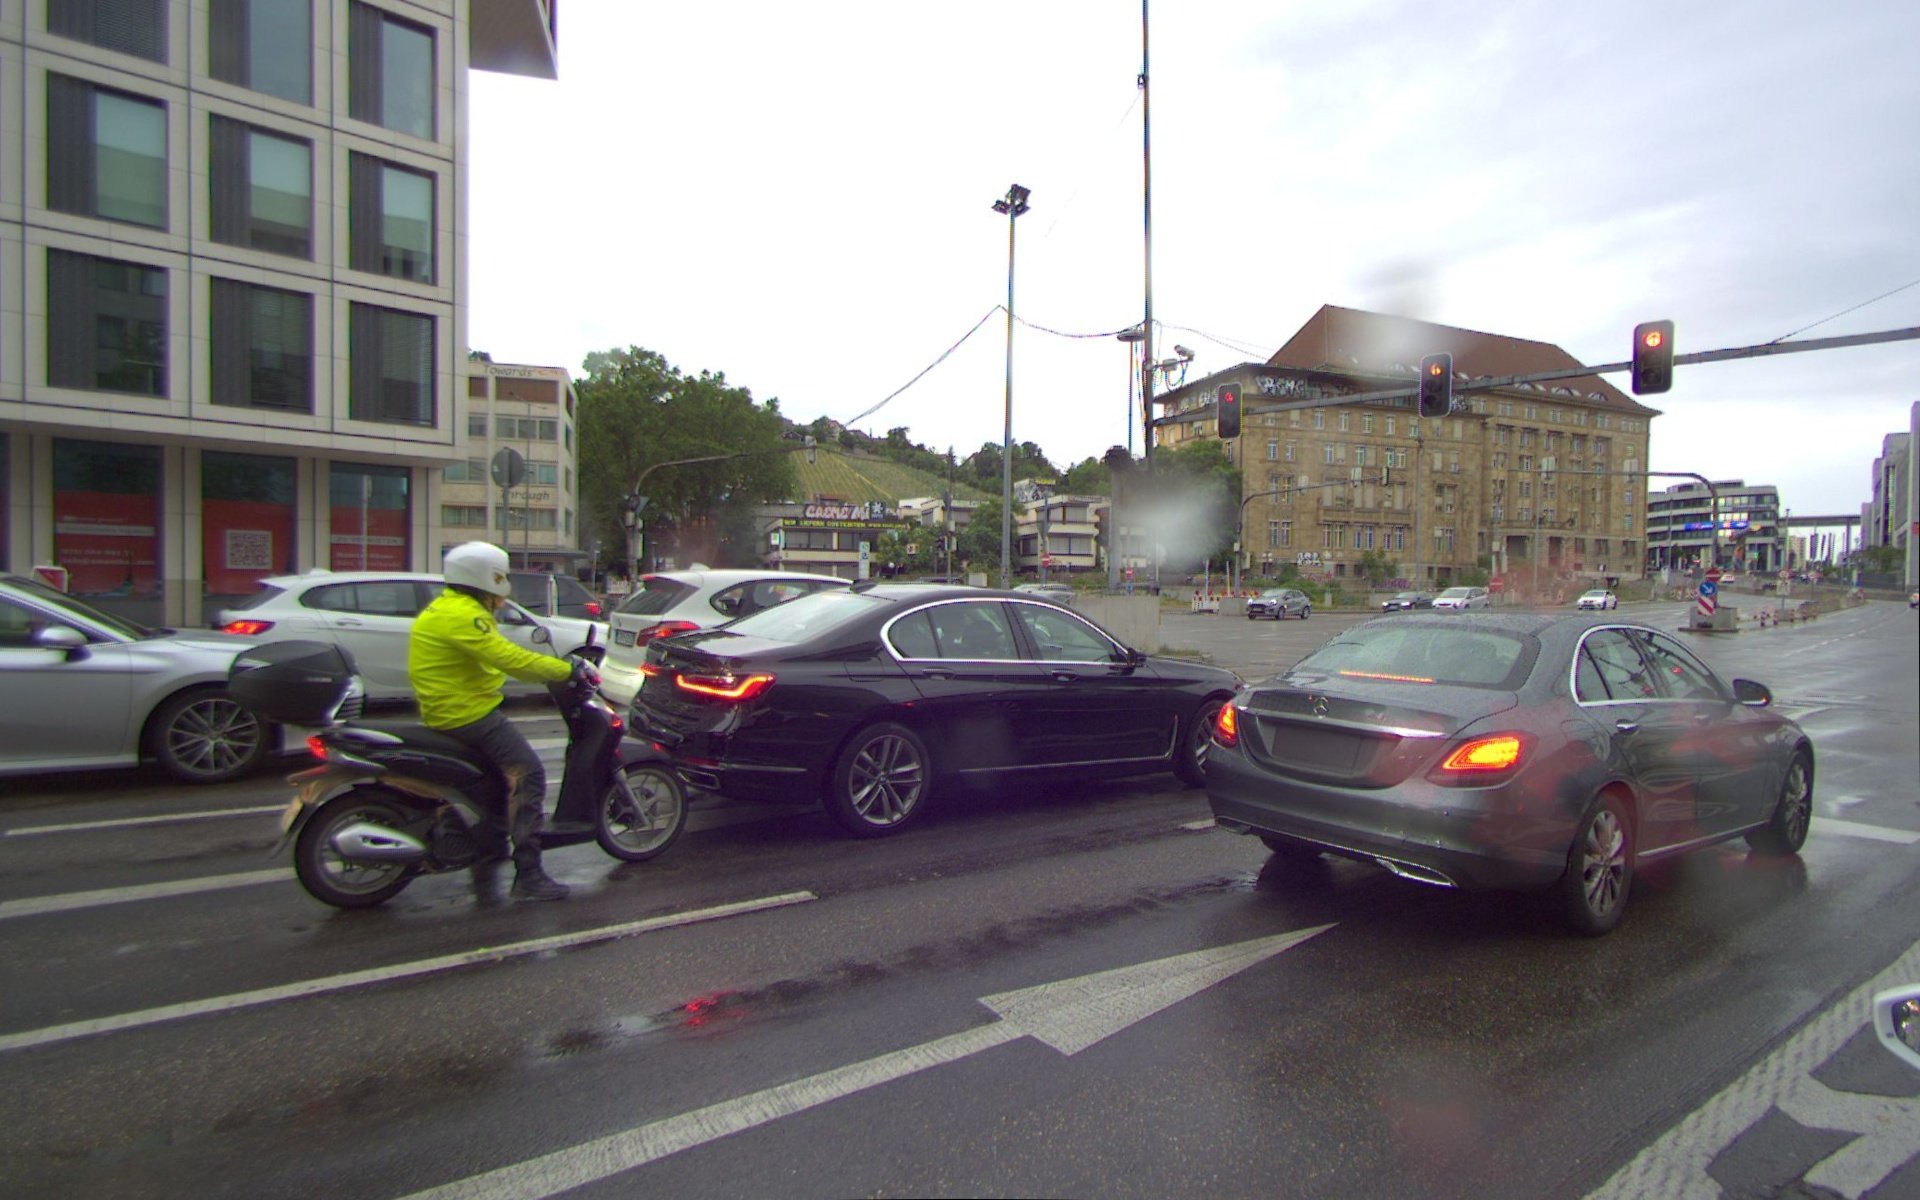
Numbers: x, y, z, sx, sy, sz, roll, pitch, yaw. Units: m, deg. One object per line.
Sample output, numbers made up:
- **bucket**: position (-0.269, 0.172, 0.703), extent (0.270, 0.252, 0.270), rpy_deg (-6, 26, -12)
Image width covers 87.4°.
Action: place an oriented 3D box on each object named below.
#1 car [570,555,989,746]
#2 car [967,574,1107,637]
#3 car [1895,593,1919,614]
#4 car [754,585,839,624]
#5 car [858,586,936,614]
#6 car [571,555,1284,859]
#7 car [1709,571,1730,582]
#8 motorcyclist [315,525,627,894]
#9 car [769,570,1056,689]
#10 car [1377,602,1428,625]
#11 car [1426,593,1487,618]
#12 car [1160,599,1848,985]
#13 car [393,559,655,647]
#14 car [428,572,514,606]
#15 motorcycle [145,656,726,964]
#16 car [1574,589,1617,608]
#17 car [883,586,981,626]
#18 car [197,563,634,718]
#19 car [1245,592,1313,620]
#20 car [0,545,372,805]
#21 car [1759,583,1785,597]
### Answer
- **car**: position (-1.774, 0.459, 10.554), extent (3.967, 1.637, 1.718), rpy_deg (2, 1, -40)
- **car**: position (2.217, 0.170, 28.071), extent (1.680, 1.595, 3.975), rpy_deg (3, 1, 45)
- **car**: position (81.385, 0.284, 85.585), extent (1.967, 1.662, 3.987), rpy_deg (3, 1, 35)
- **car**: position (-7.585, 0.198, 46.439), extent (3.939, 1.617, 1.668), rpy_deg (3, 1, 40)
- **car**: position (-3.428, 0.013, 54.884), extent (3.926, 1.339, 1.652), rpy_deg (3, 1, 27)
- **car**: position (0.013, 0.587, 7.288), extent (4.955, 1.535, 1.873), rpy_deg (2, 1, -36)
- **car**: position (140.735, -4.274, 186.156), extent (1.960, 1.840, 4.000), rpy_deg (3, 1, 18)
- **motorcyclist**: position (-2.324, 0.445, 4.777), extent (1.092, 1.495, 0.933), rpy_deg (2, 1, -41)
- **car**: position (-0.714, 0.458, 15.486), extent (4.021, 1.621, 1.776), rpy_deg (2, 1, -27)
- **car**: position (27.104, 0.812, 61.511), extent (3.308, 1.277, 1.720), rpy_deg (2, 1, -45)
- **car**: position (28.726, 0.331, 58.031), extent (4.164, 1.277, 1.751), rpy_deg (2, 1, -43)
- **car**: position (3.374, 0.739, 5.885), extent (4.442, 1.421, 1.771), rpy_deg (0, 2, -36)
- **car**: position (-7.919, 0.092, 18.479), extent (4.111, 1.443, 1.681), rpy_deg (2, -1, -43)
- **car**: position (-27.118, -0.614, 55.693), extent (4.369, 1.671, 1.998), rpy_deg (3, 1, 27)
- **motorcycle**: position (-2.372, 0.827, 4.757), extent (2.277, 1.002, 0.933), rpy_deg (1, 1, -42)
- **car**: position (47.607, -0.109, 75.218), extent (3.971, 1.277, 1.751), rpy_deg (2, 1, -43)
- **car**: position (-1.360, 0.273, 48.755), extent (4.318, 1.684, 1.996), rpy_deg (3, 1, 32)
- **car**: position (-5.884, 0.404, 11.081), extent (3.960, 1.391, 1.768), rpy_deg (2, 1, -40)
- **car**: position (16.325, 0.307, 51.363), extent (3.974, 1.277, 1.607), rpy_deg (2, 1, -45)
- **car**: position (-6.589, 0.399, 6.373), extent (4.756, 1.541, 1.817), rpy_deg (2, 1, -37)
- **car**: position (125.003, -1.522, 154.718), extent (1.961, 2.040, 3.999), rpy_deg (3, 1, 22)
